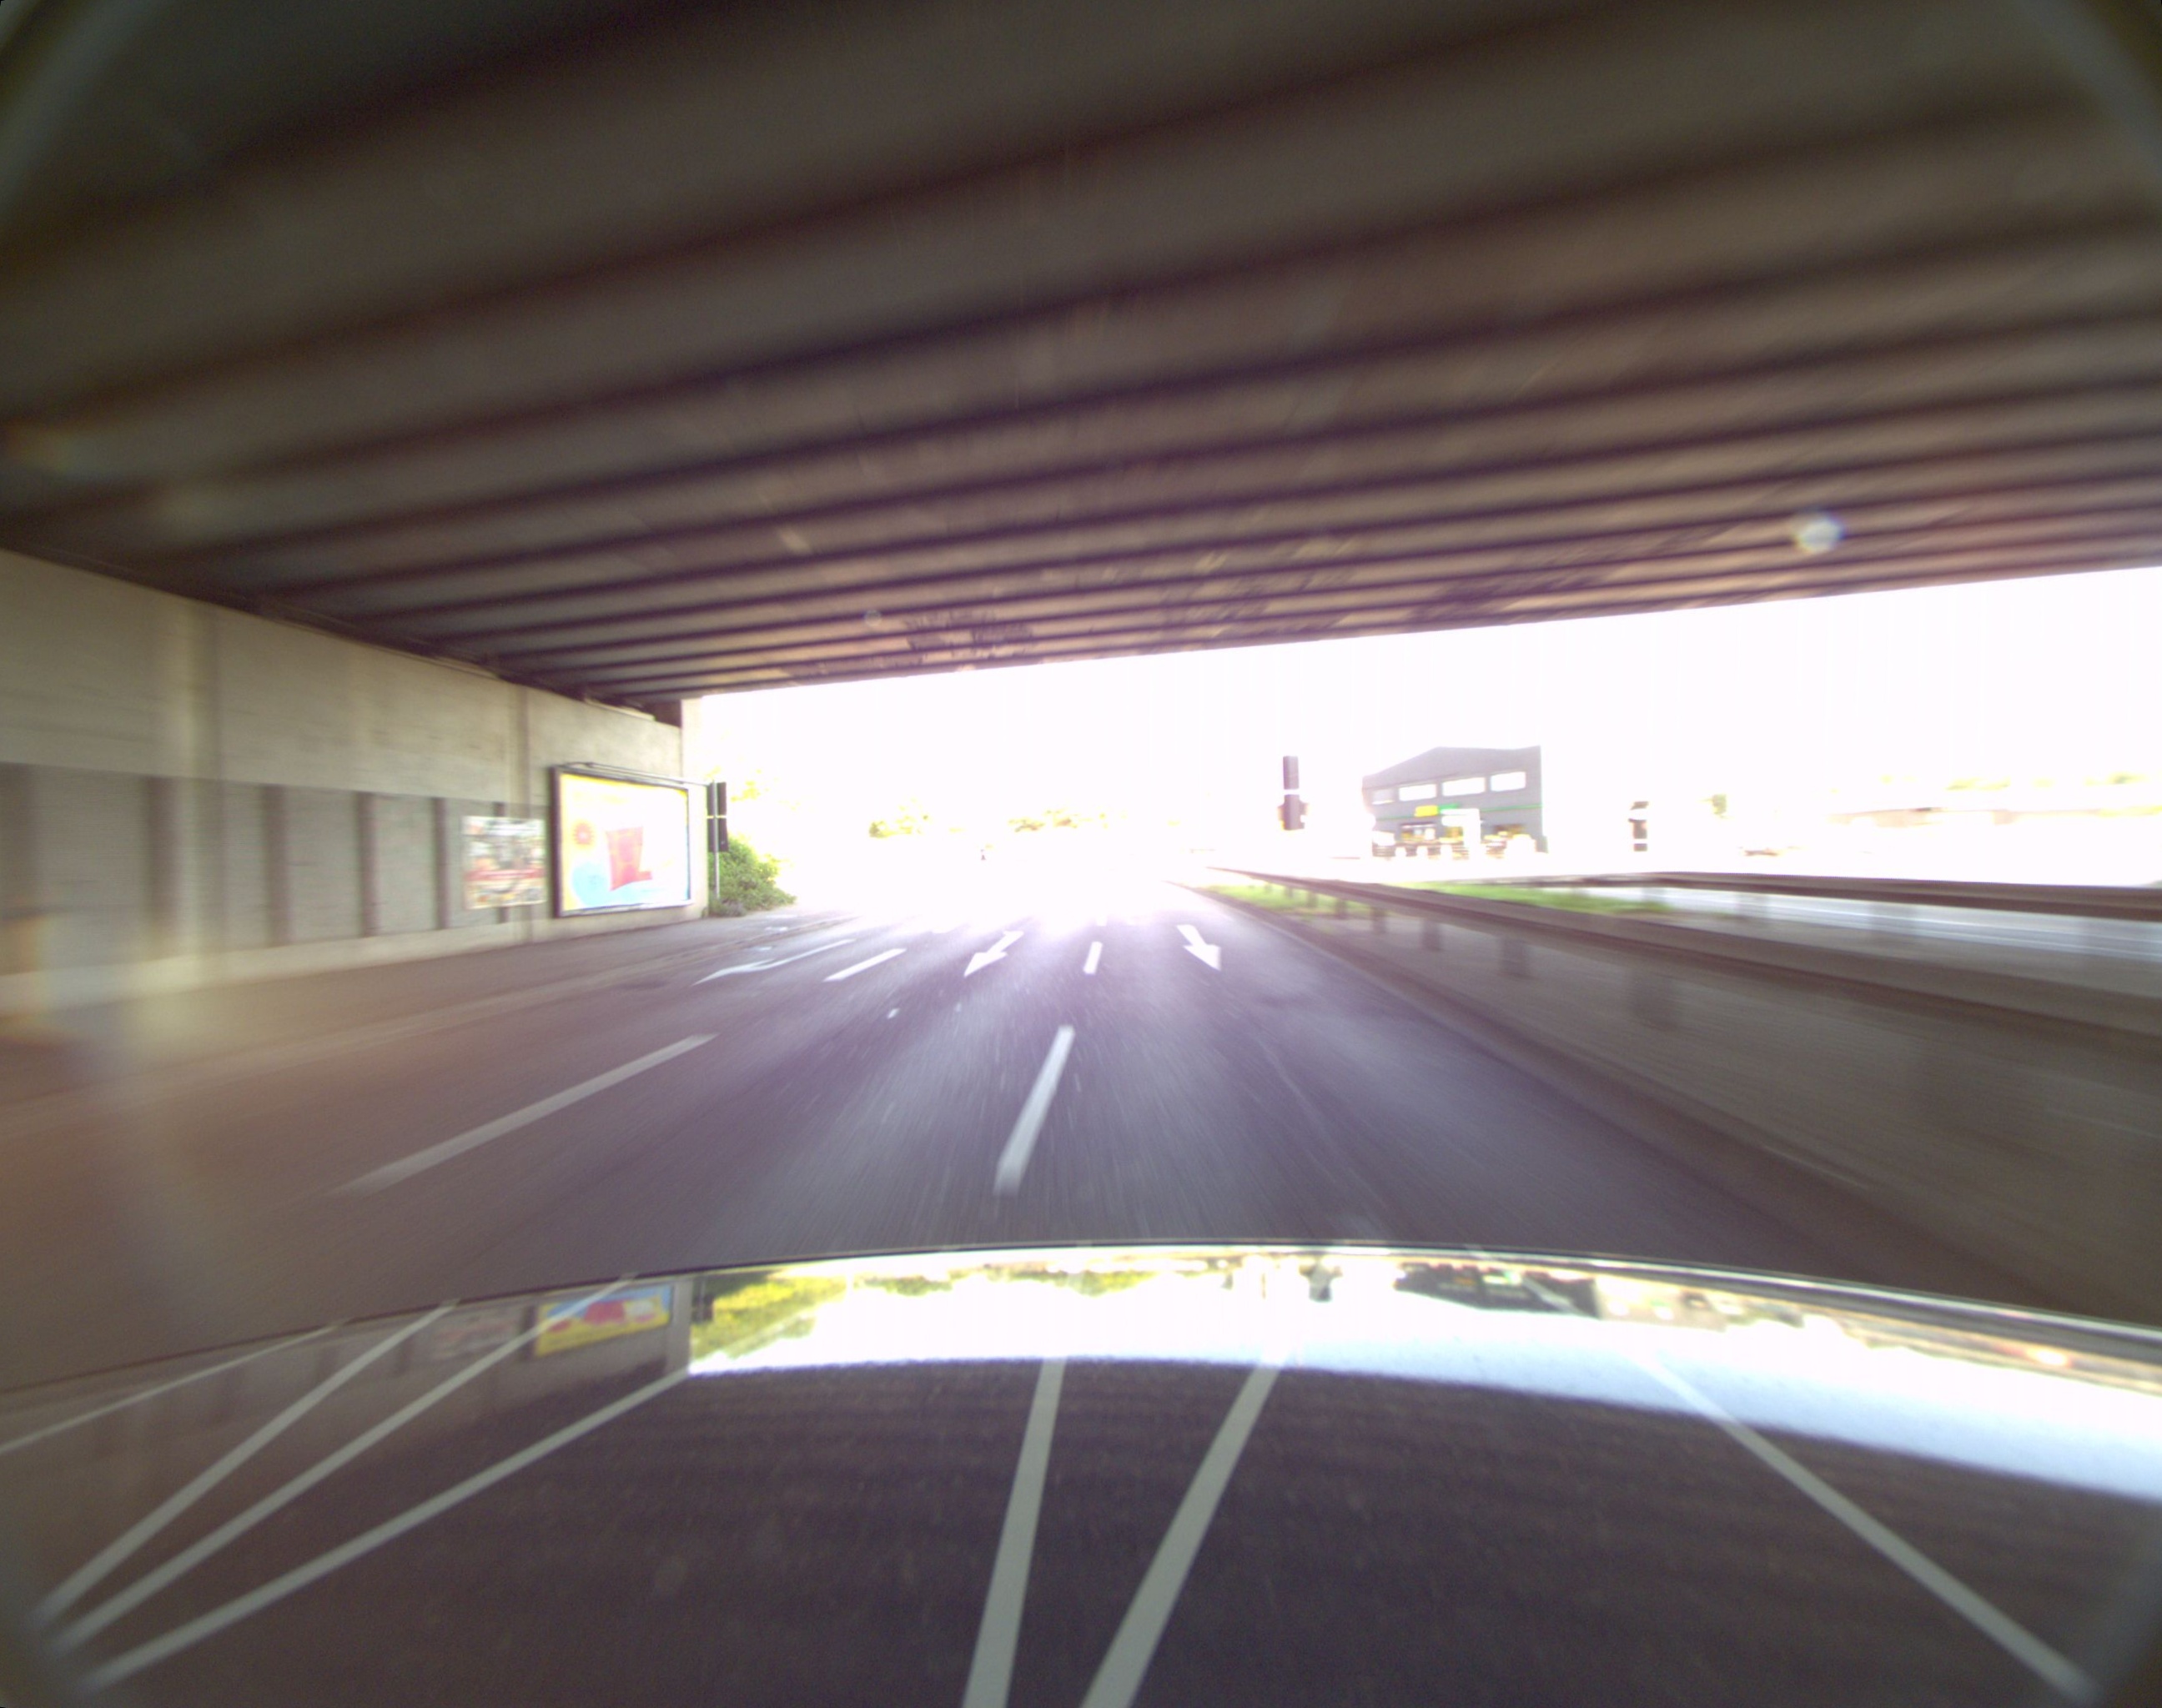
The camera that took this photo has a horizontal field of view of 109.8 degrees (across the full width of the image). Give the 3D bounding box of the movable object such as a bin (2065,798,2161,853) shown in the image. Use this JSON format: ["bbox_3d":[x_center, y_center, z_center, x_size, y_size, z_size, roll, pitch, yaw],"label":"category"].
[{"bbox_3d":[64.554,-1.712,45.353,2.448,3.198,6.619,-3,1,-17],"label":"movable object such as a bin"}]

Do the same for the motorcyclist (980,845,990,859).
[{"bbox_3d":[-10.642,-0.248,84.446,0.839,1.434,0.878,-3,1,8],"label":"motorcyclist"}]

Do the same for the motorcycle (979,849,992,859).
[{"bbox_3d":[-10.625,-0.053,84.404,0.810,1.040,2.354,-3,1,8],"label":"motorcycle"}]

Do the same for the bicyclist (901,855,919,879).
[{"bbox_3d":[-10.770,0.818,47.828,0.844,1.413,1.112,-3,1,-20],"label":"bicyclist"}]

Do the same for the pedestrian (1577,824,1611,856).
[{"bbox_3d":[31.130,-0.862,46.102,1.274,1.825,1.085,-3,1,2],"label":"pedestrian"}]

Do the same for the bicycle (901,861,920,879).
[{"bbox_3d":[-10.764,1.009,47.829,0.783,1.051,2.492,-3,1,-21],"label":"bicycle"}]
